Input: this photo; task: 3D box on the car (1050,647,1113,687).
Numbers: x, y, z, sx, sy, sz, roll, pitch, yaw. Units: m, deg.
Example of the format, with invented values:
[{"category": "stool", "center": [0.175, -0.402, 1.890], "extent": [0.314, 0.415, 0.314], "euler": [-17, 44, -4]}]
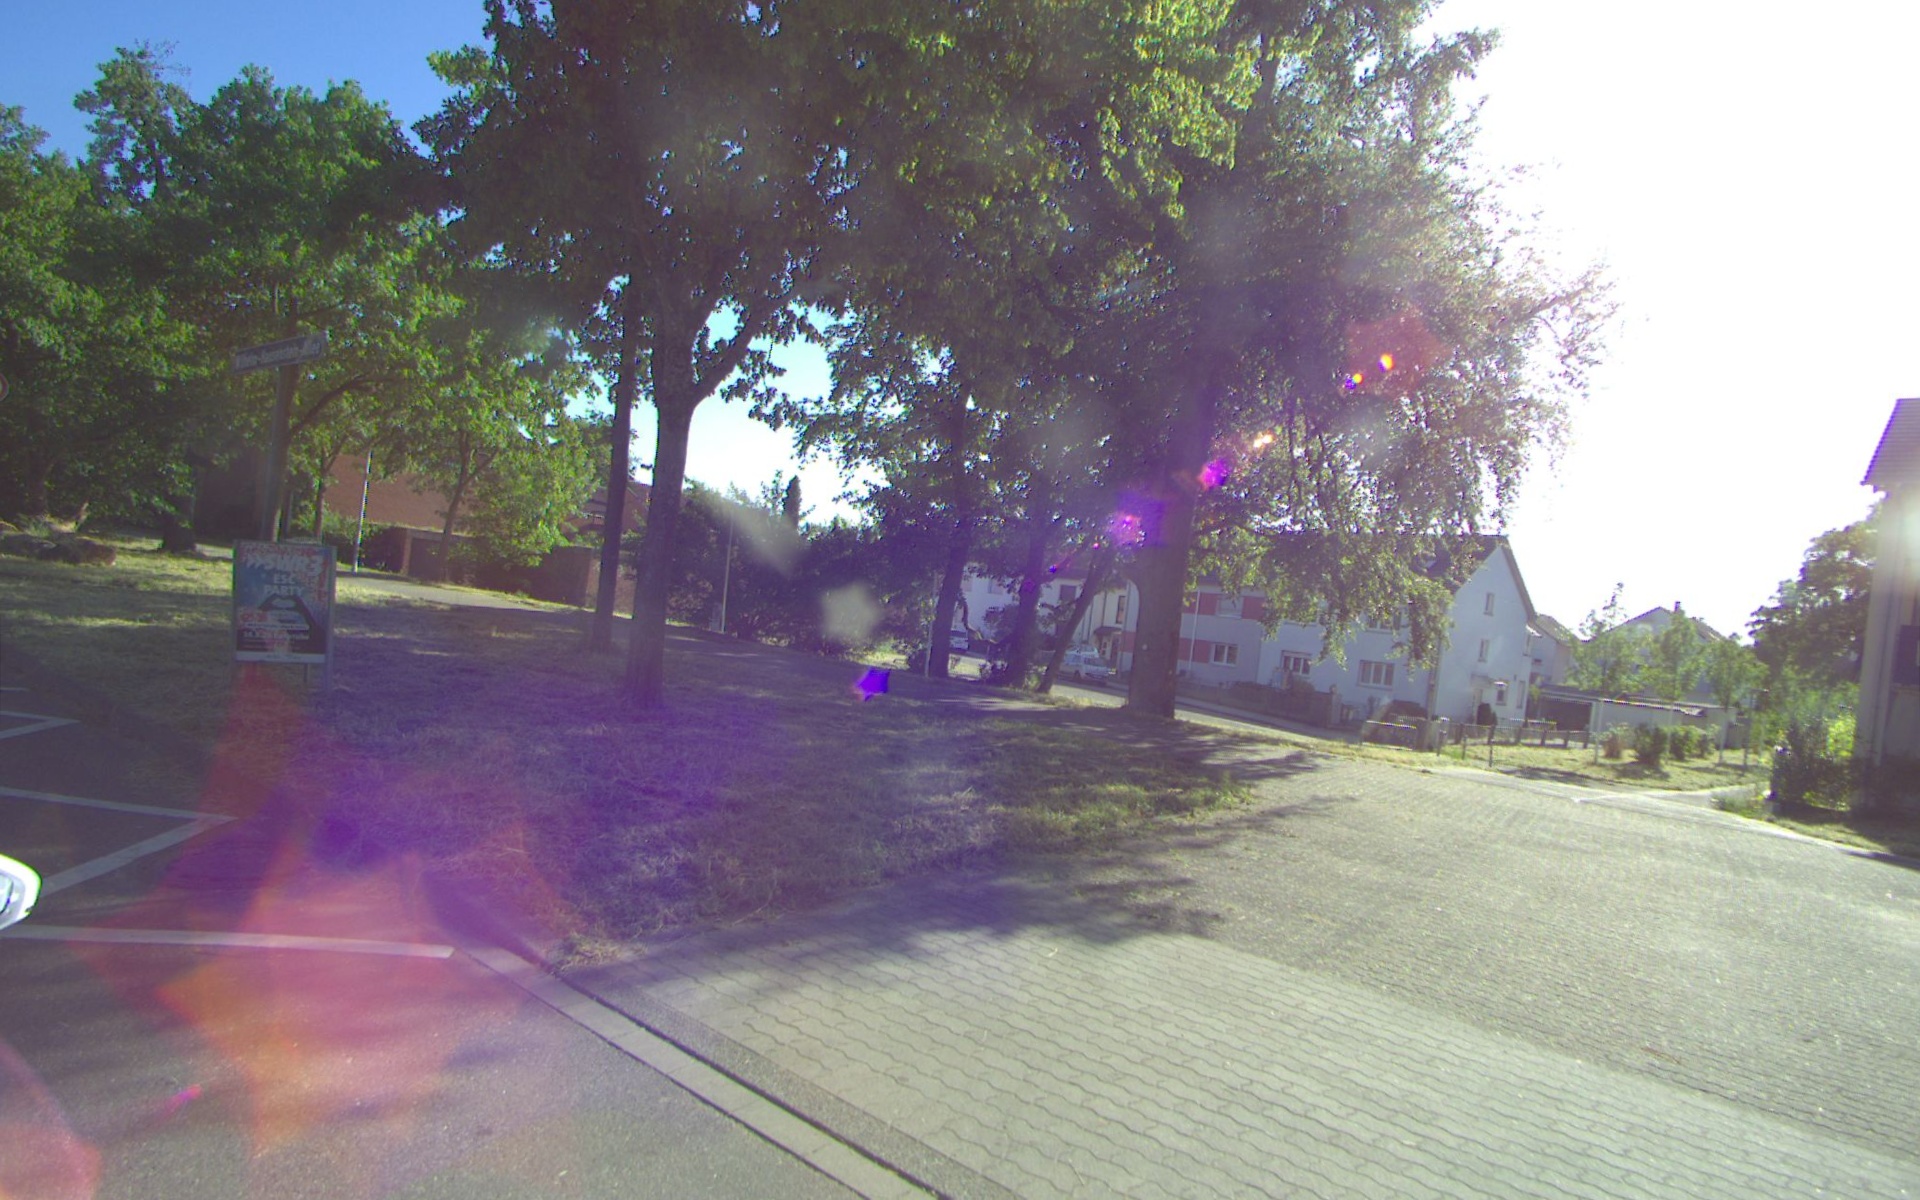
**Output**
[{"category": "car", "center": [6.185, 3.392, 51.502], "extent": [1.512, 1.570, 3.163], "euler": [8, -1, -26]}]

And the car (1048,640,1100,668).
[{"category": "car", "center": [8.189, 3.891, 71.930], "extent": [3.612, 1.516, 1.435], "euler": [9, -1, -38]}]

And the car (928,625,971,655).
[{"category": "car", "center": [-0.747, 2.741, 68.999], "extent": [1.785, 1.635, 3.625], "euler": [8, -1, -19]}]
